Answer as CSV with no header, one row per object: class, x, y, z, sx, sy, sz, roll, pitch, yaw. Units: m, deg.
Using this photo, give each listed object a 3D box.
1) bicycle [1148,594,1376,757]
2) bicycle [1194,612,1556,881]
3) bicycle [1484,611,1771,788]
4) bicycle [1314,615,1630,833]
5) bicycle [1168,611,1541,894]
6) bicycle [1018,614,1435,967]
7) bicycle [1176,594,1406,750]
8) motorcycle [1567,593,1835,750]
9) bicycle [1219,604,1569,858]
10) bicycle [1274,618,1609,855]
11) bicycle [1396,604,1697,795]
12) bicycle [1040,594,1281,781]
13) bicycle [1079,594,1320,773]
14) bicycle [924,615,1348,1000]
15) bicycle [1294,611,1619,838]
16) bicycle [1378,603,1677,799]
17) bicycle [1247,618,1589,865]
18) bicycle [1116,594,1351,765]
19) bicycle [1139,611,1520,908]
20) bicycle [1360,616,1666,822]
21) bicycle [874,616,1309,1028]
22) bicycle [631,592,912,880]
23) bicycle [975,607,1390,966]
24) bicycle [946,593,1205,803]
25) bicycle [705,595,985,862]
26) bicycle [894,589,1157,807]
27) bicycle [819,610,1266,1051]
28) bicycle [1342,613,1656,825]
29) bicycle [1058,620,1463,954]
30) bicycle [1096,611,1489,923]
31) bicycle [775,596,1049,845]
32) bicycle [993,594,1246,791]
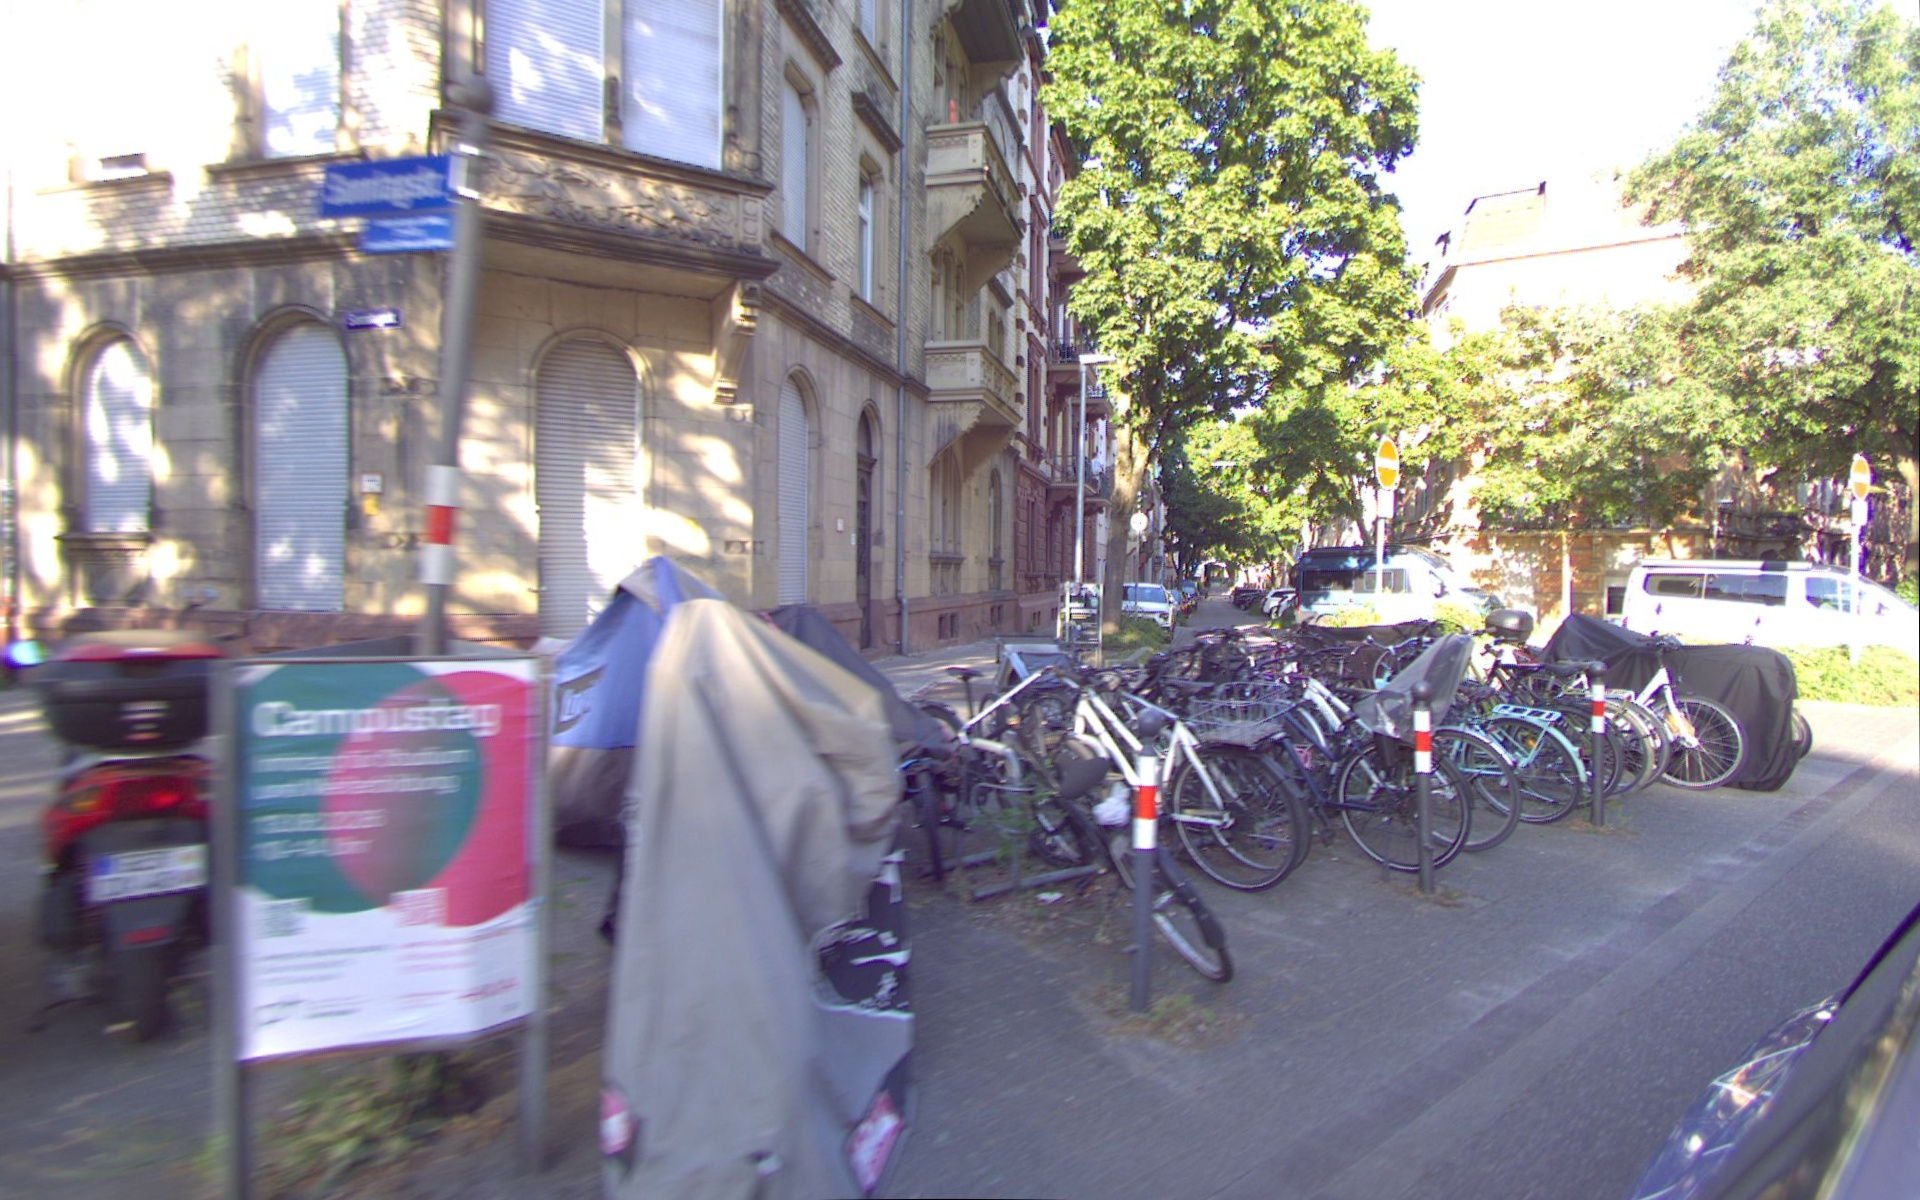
bicycle,2.599,0.599,8.903,1.925,1.261,0.472,2,1,45
bicycle,2.262,0.732,5.764,1.925,1.261,0.298,2,1,45
bicycle,5.273,0.730,8.118,0.436,1.141,1.821,0,3,-41
bicycle,3.421,0.764,6.937,1.925,1.261,0.298,2,1,45
bicycle,2.042,0.720,5.510,1.925,1.261,0.298,2,1,45
bicycle,1.090,0.730,4.591,1.925,1.261,0.298,2,1,45
bicycle,3.001,0.598,9.325,1.925,1.261,0.638,2,1,44
motorcycle,7.146,0.623,9.853,0.611,1.344,2.016,0,1,-43
bicycle,2.476,0.679,6.003,1.925,1.261,0.298,2,1,45
bicycle,2.979,0.780,6.456,1.925,1.261,0.298,2,1,45
bicycle,4.496,0.691,7.875,1.925,1.261,0.638,2,1,44
bicycle,1.490,0.601,7.839,1.925,1.261,0.389,2,1,45
bicycle,1.877,0.601,8.198,1.925,1.261,0.472,2,1,45
bicycle,0.622,0.727,4.270,1.925,1.261,0.298,2,1,45
bicycle,3.194,0.736,6.695,1.925,1.261,0.298,2,1,45
bicycle,4.141,0.677,7.534,1.925,1.261,0.298,2,1,45
bicycle,2.722,0.775,6.232,1.925,1.261,0.298,2,1,45
bicycle,2.250,0.600,8.549,1.925,1.261,0.472,2,1,45
bicycle,1.819,0.720,5.277,1.906,1.261,0.298,2,1,45
bicycle,3.919,0.784,7.328,1.925,1.261,0.298,2,1,45
bicycle,0.403,0.728,4.041,1.925,1.261,0.298,2,1,45
bicycle,-1.074,0.604,5.383,1.925,1.261,0.445,2,1,45
bicycle,0.871,0.690,4.491,1.925,1.261,0.298,2,1,45
bicycle,0.746,0.602,7.114,1.925,1.261,0.472,2,1,45
bicycle,-0.724,0.621,5.767,1.925,1.261,0.472,2,1,45
bicycle,0.378,0.573,6.836,1.925,1.261,0.472,2,1,45
bicycle,0.184,0.698,3.809,1.925,1.261,0.298,2,1,45
bicycle,3.690,0.752,7.098,1.925,1.261,0.298,2,1,45
bicycle,1.319,0.762,4.826,1.925,1.261,0.298,2,1,45
bicycle,1.551,0.714,5.059,1.925,1.261,0.298,2,1,45
bicycle,-0.362,0.626,6.133,1.925,1.261,0.472,2,1,45
bicycle,1.113,0.601,7.475,1.925,1.261,0.472,2,1,45
